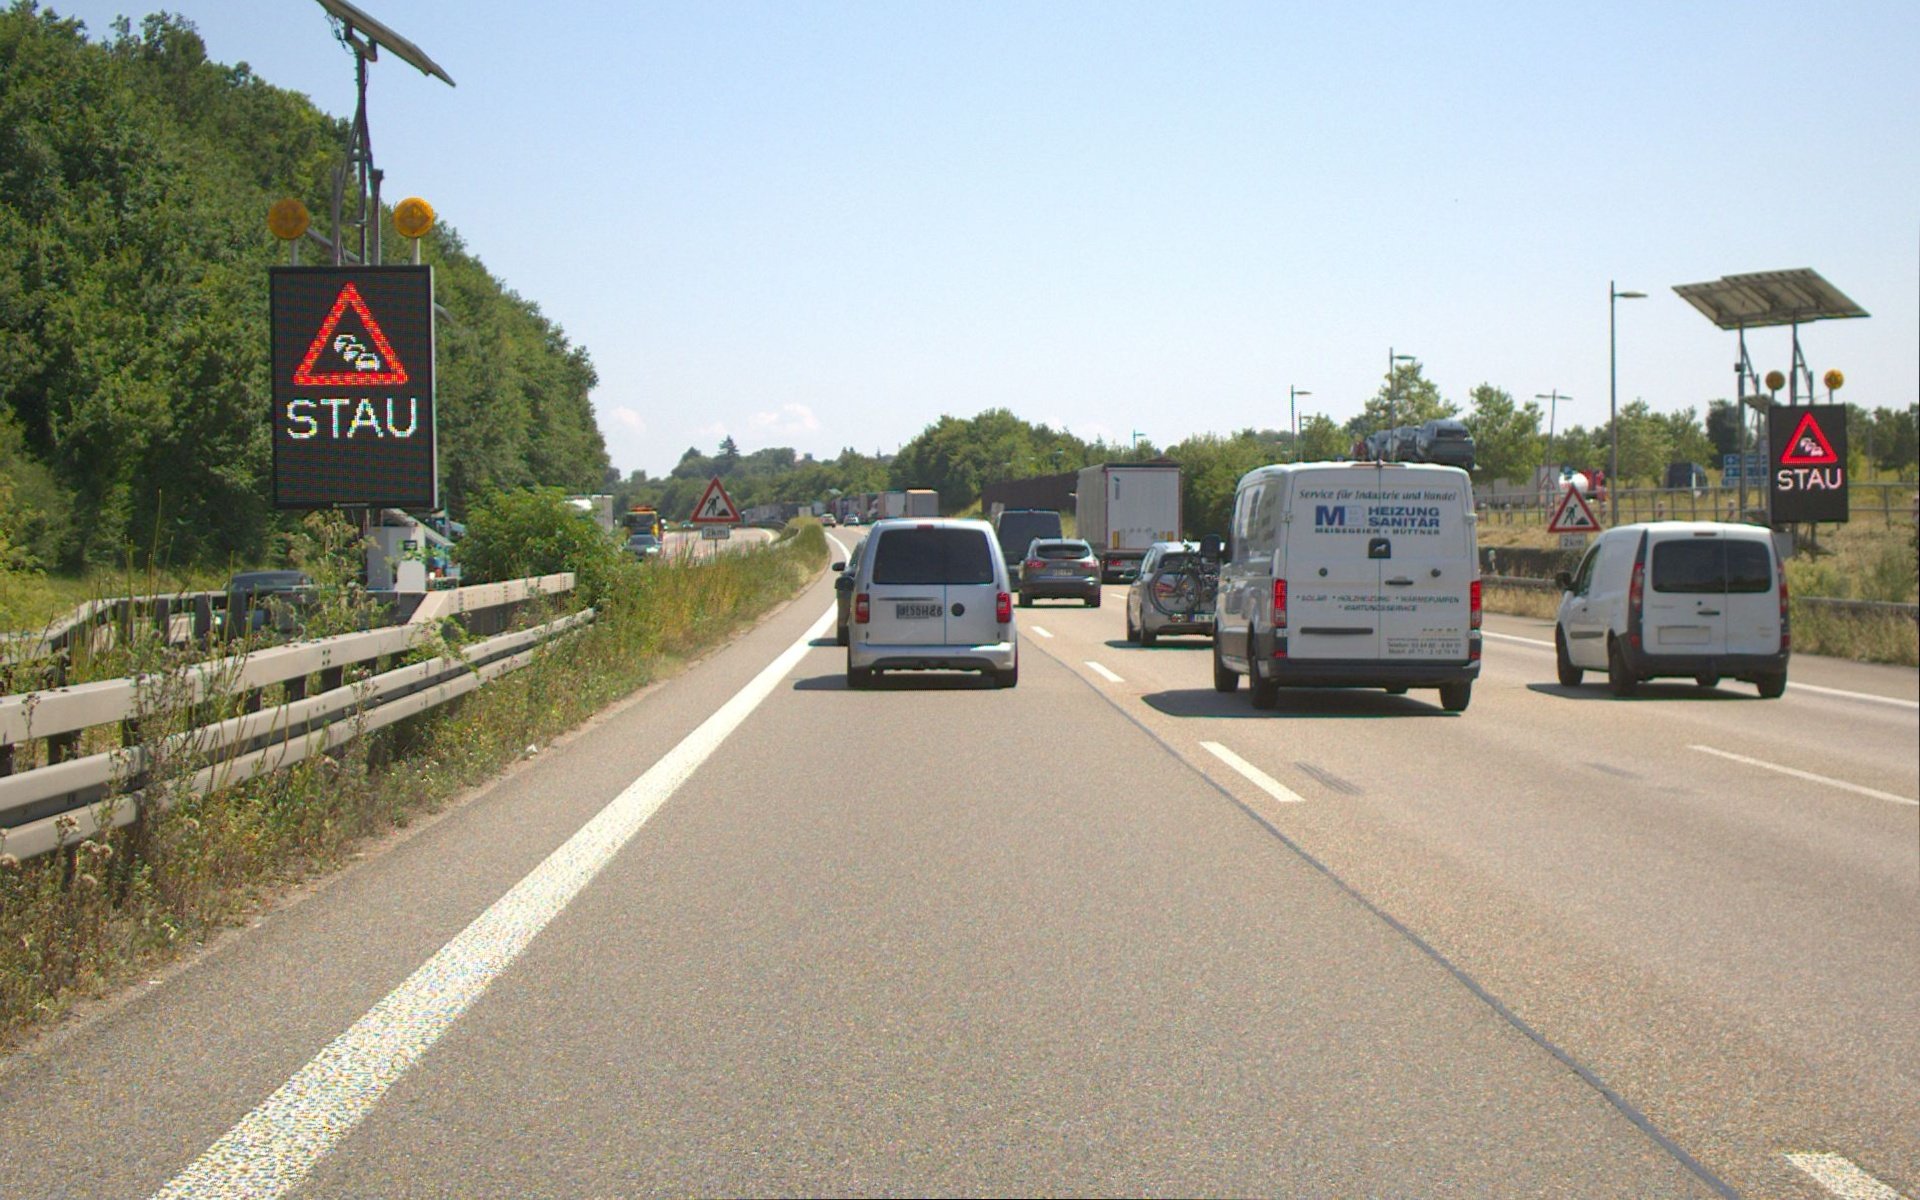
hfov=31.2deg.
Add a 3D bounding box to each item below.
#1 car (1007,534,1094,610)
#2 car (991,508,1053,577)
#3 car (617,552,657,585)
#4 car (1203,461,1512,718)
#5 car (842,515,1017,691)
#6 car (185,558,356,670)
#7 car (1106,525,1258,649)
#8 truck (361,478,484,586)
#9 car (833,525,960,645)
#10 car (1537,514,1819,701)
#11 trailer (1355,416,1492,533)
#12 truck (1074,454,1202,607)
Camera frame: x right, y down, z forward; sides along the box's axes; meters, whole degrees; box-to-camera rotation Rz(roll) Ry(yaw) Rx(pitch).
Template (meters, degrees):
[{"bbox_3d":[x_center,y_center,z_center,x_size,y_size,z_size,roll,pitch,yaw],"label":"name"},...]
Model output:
[{"bbox_3d":[2.062,-0.653,79.526,1.902,1.666,4.088,-1,1,0],"label":"car"},{"bbox_3d":[1.728,-1.609,97.082,1.674,1.885,4.088,-1,1,0],"label":"car"},{"bbox_3d":[-17.105,-1.669,182.326,1.724,1.650,4.861,-2,1,-1],"label":"car"},{"bbox_3d":[3.707,-0.122,33.097,2.181,2.246,5.364,1,1,-2],"label":"car"},{"bbox_3d":[-0.304,0.006,37.016,1.745,1.758,4.088,-1,1,0],"label":"car"},{"bbox_3d":[-10.139,0.172,50.786,1.724,1.521,4.000,-2,1,-1],"label":"car"},{"bbox_3d":[3.249,-0.206,50.953,1.976,1.727,4.088,-1,1,0],"label":"car"},{"bbox_3d":[-19.767,-2.470,127.024,2.996,3.789,10.790,-1,1,-1],"label":"truck"},{"bbox_3d":[-0.914,-0.243,51.523,1.745,1.695,4.088,-1,1,1],"label":"car"},{"bbox_3d":[7.499,0.052,36.312,1.950,1.831,4.179,-1,1,-2],"label":"car"},{"bbox_3d":[18.727,-4.965,140.333,2.605,4.243,18.423,1,1,-1],"label":"trailer"},{"bbox_3d":[6.104,-2.362,120.133,3.788,4.982,12.519,1,1,0],"label":"truck"}]
